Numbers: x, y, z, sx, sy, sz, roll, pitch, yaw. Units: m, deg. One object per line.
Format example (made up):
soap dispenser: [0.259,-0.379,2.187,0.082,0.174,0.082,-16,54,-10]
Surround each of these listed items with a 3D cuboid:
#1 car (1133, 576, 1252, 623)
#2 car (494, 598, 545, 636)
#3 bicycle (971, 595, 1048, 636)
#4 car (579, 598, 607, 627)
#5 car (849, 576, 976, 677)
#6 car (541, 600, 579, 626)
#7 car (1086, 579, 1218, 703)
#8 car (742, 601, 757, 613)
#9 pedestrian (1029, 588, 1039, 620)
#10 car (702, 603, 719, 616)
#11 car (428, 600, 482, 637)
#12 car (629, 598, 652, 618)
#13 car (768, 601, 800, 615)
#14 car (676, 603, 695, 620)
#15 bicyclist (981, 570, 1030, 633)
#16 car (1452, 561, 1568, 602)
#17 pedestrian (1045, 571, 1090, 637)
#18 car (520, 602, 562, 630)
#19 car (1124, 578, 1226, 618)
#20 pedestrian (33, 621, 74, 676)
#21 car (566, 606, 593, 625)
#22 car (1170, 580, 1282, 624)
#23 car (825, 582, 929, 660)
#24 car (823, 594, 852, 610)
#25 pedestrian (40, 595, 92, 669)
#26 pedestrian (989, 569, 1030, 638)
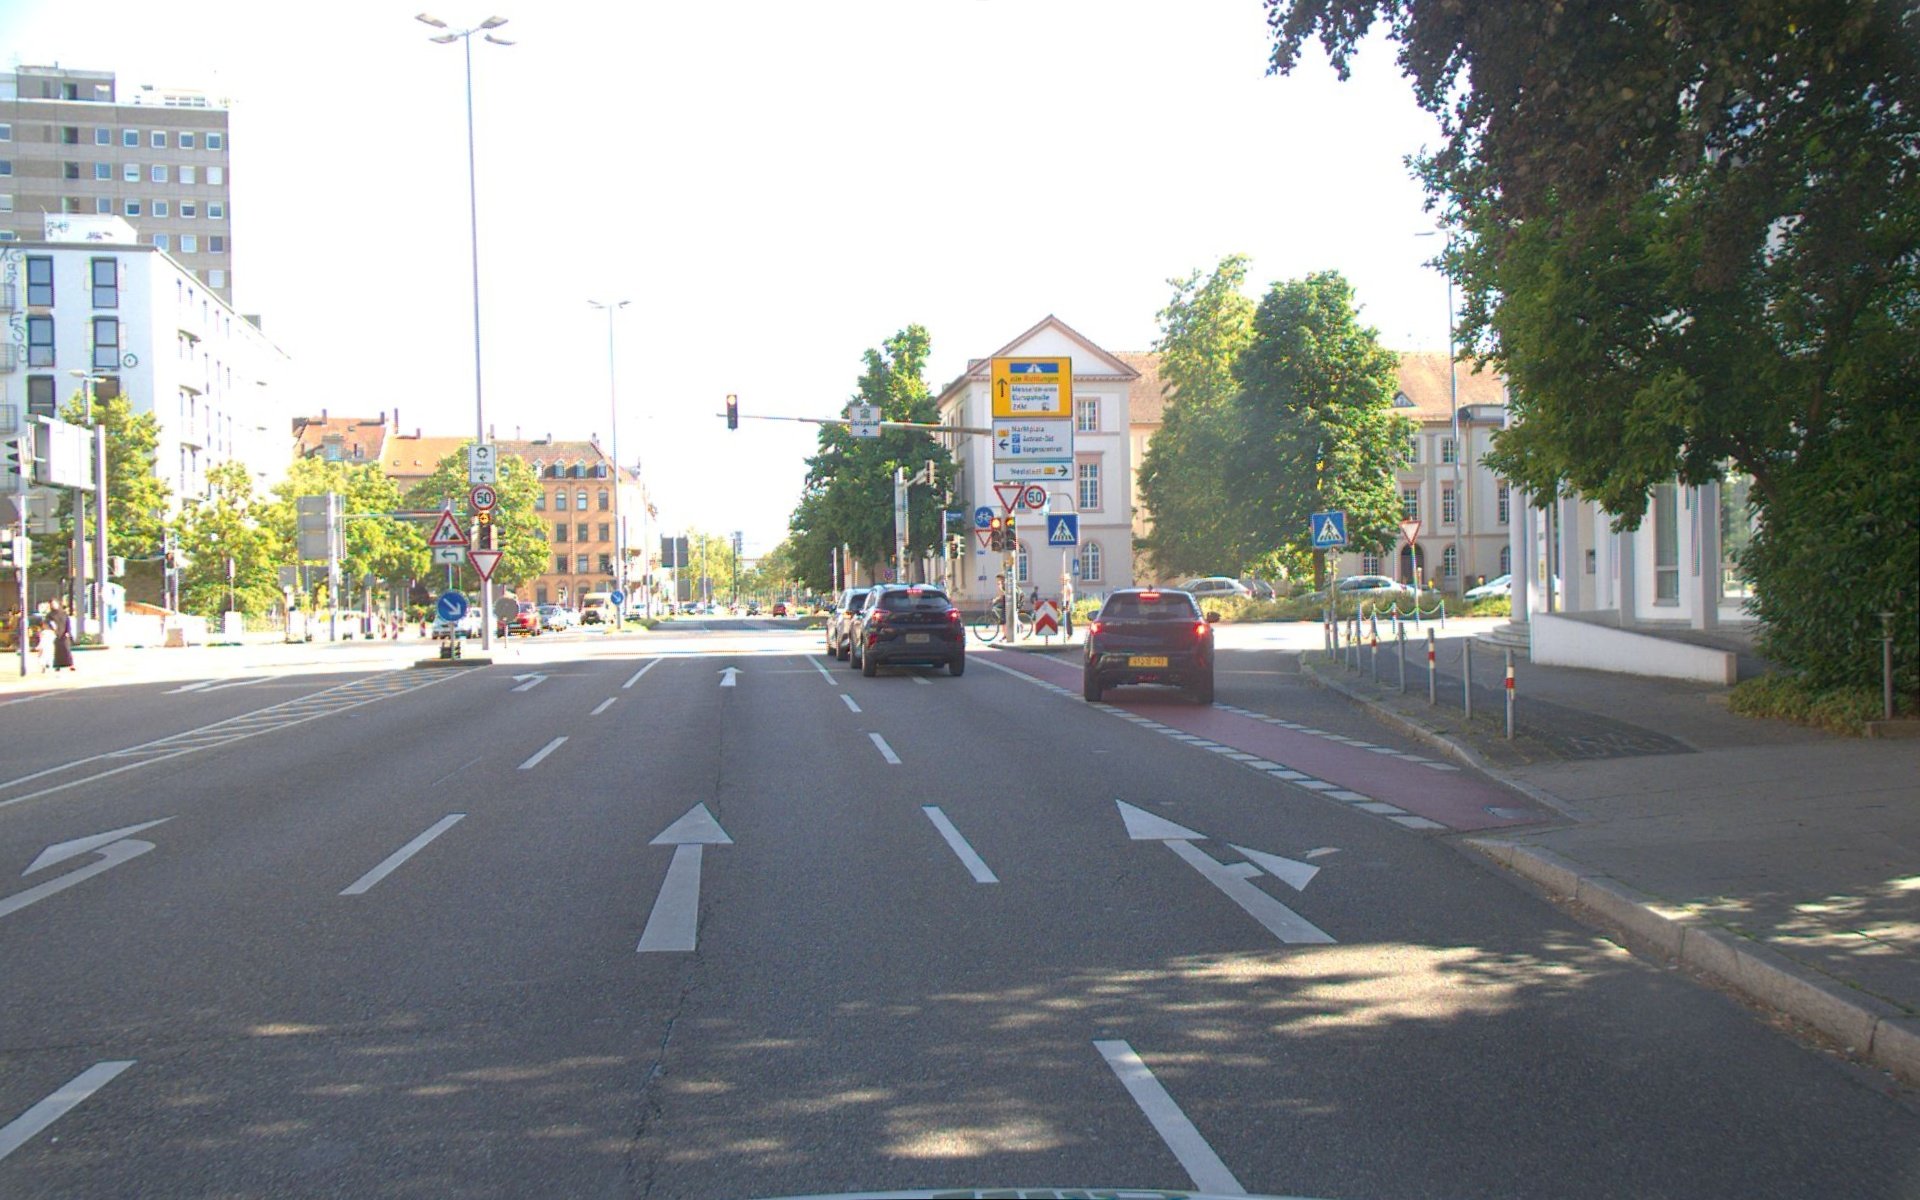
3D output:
car: [8.763,-0.043,62.338,4.046,1.629,1.815,-2,0,-15]
car: [-20.416,0.767,76.822,1.757,1.645,3.993,-1,0,-8]
bicycle: [1.334,0.404,44.558,1.999,1.079,0.619,-1,0,-18]
car: [-28.911,0.997,130.367,1.777,2.172,3.992,-1,0,-8]
car: [-0.909,0.421,29.155,1.796,1.606,3.832,-2,1,-8]
car: [-24.563,0.793,101.648,1.840,1.473,3.992,-1,0,-8]
car: [2.666,0.528,23.300,1.708,1.601,3.560,0,0,5]
car: [-26.251,0.860,206.535,1.777,1.473,3.992,-1,0,-8]
pedestrian: [3.790,0.195,84.552,0.432,1.643,0.467,1,-1,-2]
car: [-28.696,1.064,190.318,1.777,1.473,3.992,-1,0,-8]
car: [-23.774,0.856,77.991,1.840,1.645,3.992,-1,0,-8]
car: [-28.943,0.722,149.983,1.777,1.662,3.992,-1,0,-8]
car: [-18.815,0.852,177.121,1.773,1.431,4.000,-1,1,22]
car: [-28.151,1.131,169.902,1.777,1.662,3.992,-1,0,-8]
bicyclist: [1.218,0.044,44.458,1.146,1.662,0.726,-1,0,-16]
car: [22.005,-0.735,66.220,4.105,1.534,1.815,-2,0,-15]
pedestrian: [2.802,0.099,43.117,1.020,1.689,0.783,-2,0,-5]
car: [-23.490,0.858,92.893,1.840,1.473,3.992,-1,0,-8]
car: [9.398,-0.107,72.524,4.046,1.629,1.815,-2,0,-15]
pedestrian: [-20.268,1.083,36.973,0.658,1.186,0.666,-1,0,-41]
car: [-31.244,1.261,135.802,1.840,1.473,3.992,-1,0,-8]
car: [10.657,0.085,66.439,4.046,1.629,1.815,-2,0,-15]
car: [-1.792,0.402,34.636,1.796,1.478,3.981,-1,0,-8]
car: [-14.168,0.227,192.030,2.129,1.728,4.003,-1,0,15]
pedestrian: [-20.568,0.729,38.060,0.663,1.678,0.828,-1,0,38]
pedestrian: [1.254,0.081,42.103,0.812,1.731,0.914,-1,0,-14]
